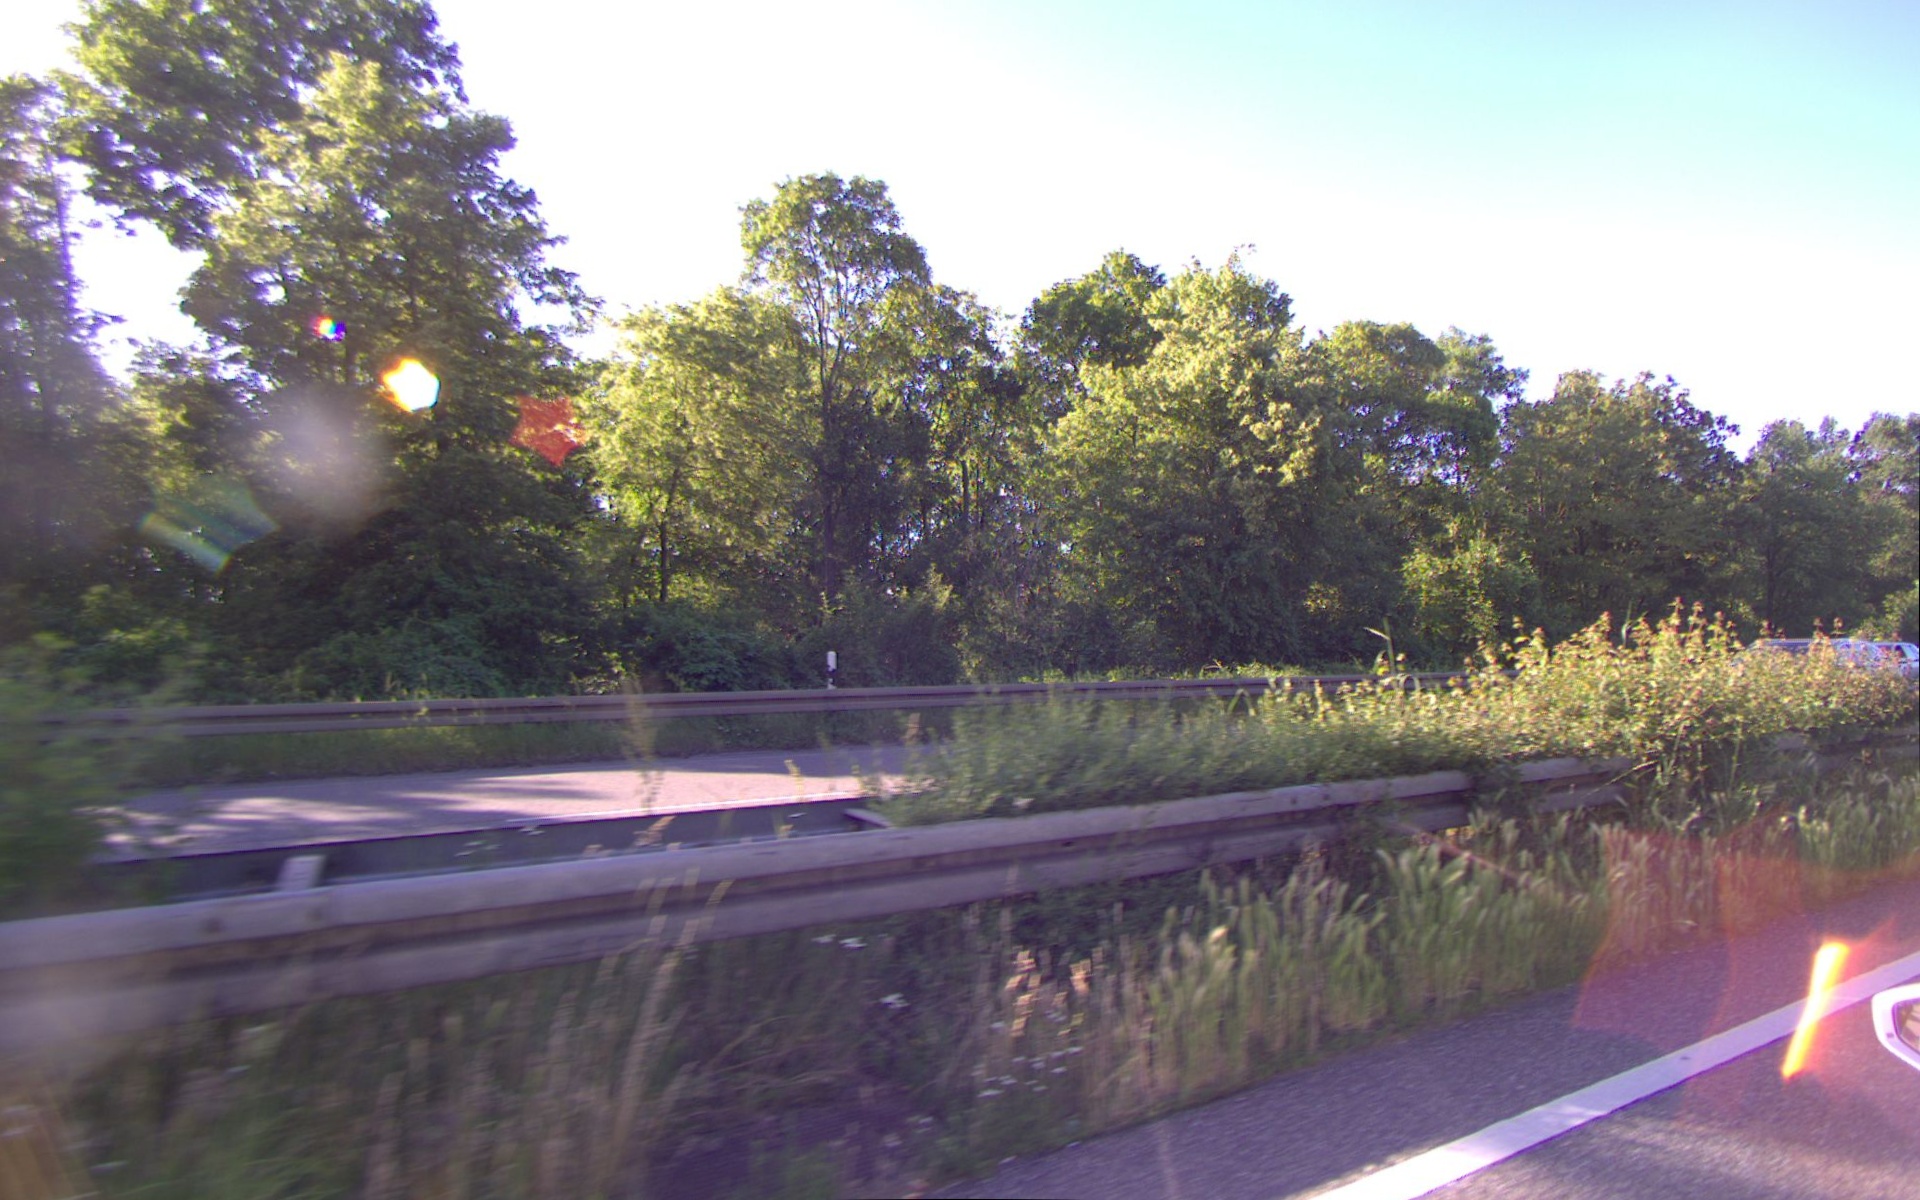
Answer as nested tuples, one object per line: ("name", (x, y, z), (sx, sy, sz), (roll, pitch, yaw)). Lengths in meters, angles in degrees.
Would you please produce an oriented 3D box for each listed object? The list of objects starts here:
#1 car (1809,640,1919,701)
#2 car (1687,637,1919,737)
("car", (23.926, 1.798, 26.012), (3.669, 1.469, 1.744), (1, -3, -29))
("car", (14.208, 1.370, 16.866), (4.384, 1.469, 1.742), (2, -2, -32))
